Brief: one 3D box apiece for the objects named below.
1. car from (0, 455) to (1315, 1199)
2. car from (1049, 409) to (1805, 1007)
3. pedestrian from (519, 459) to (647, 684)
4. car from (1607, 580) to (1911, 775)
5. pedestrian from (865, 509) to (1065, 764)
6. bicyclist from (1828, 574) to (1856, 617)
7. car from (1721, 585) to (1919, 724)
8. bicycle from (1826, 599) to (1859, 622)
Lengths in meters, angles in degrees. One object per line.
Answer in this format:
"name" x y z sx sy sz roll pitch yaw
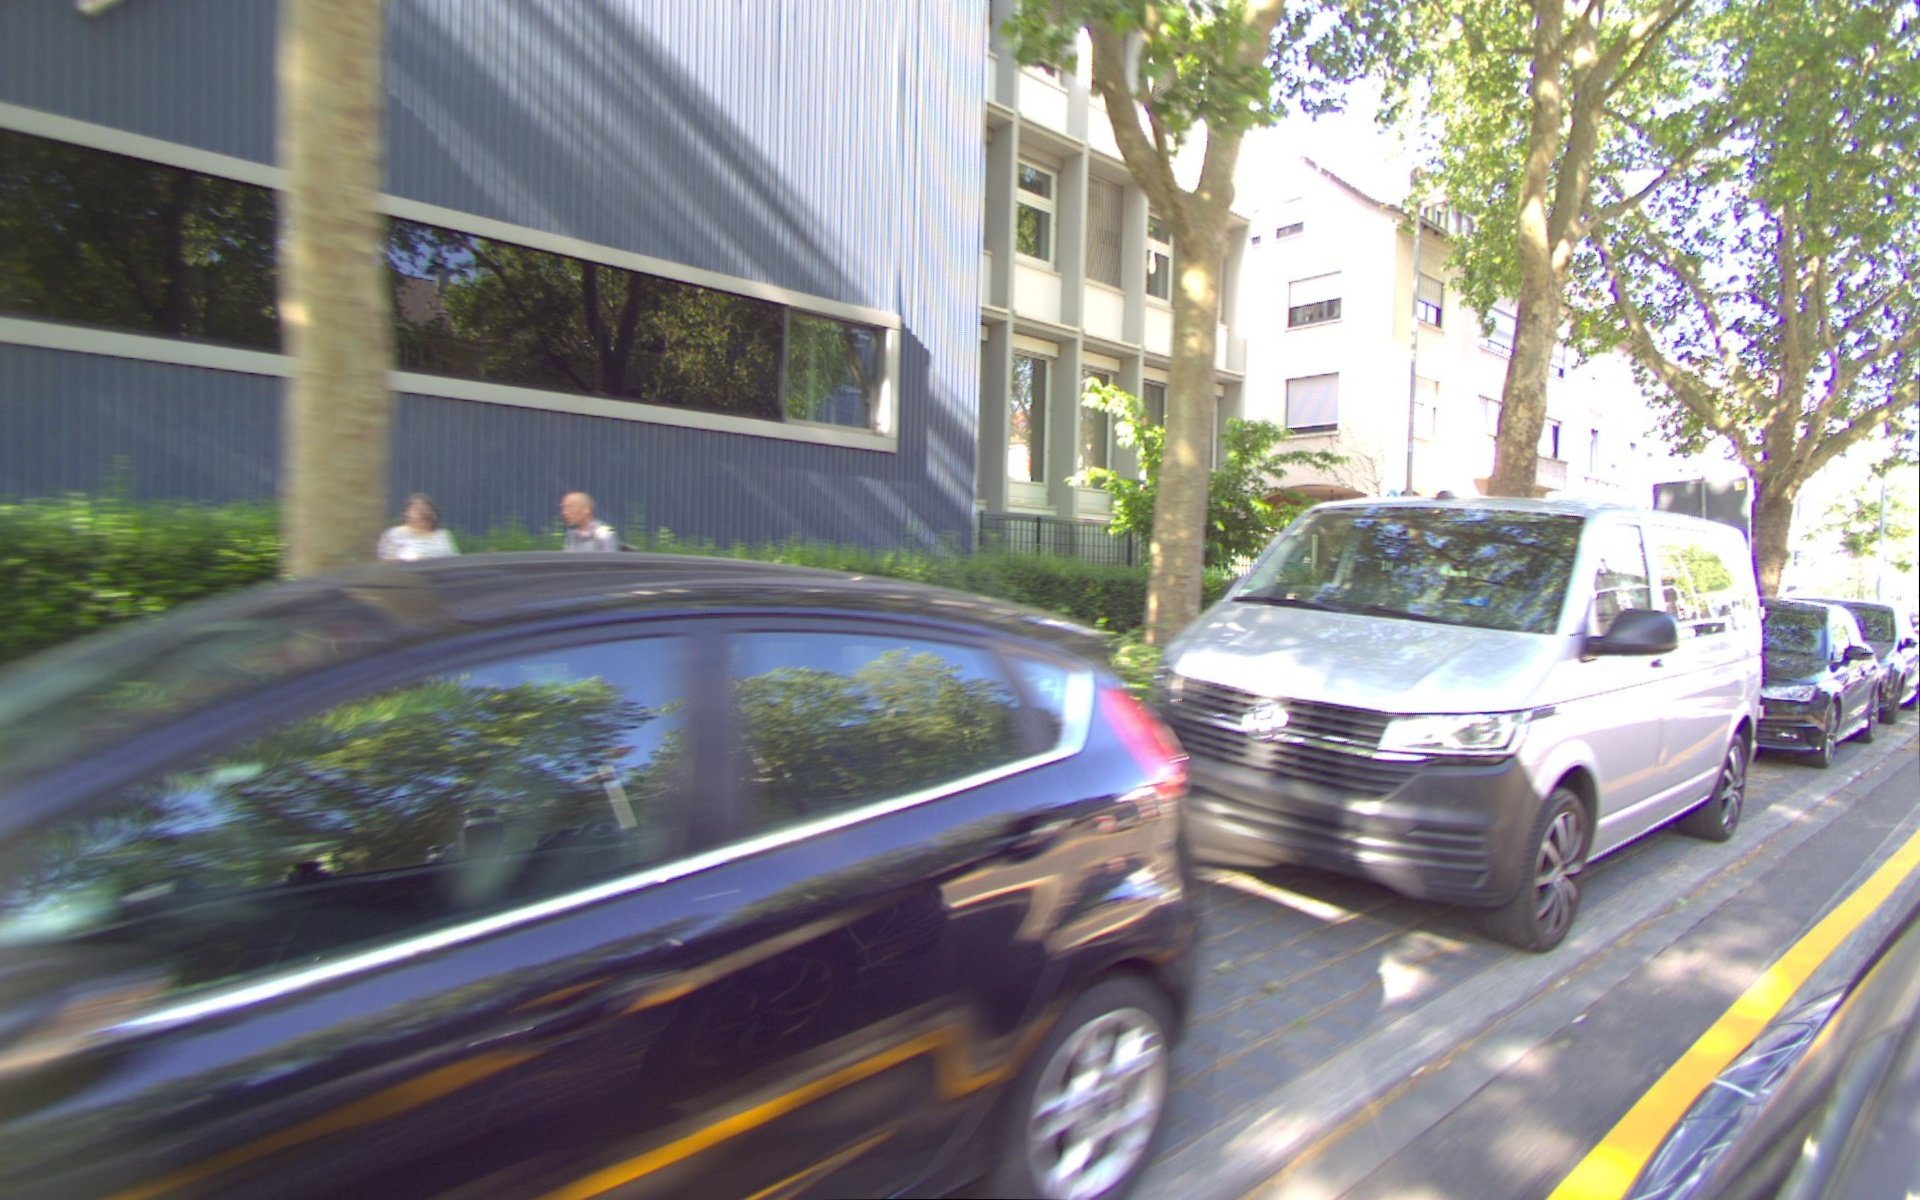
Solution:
"car" -1.190 0.555 2.071 4.028 1.495 1.752 0 2 -39
"car" 3.038 0.316 5.820 5.182 1.971 2.029 0 2 -42
"pedestrian" -2.974 -0.196 7.988 0.663 1.671 0.706 4 -4 -43
"car" 8.051 0.594 10.064 4.056 1.559 1.660 0 1 -41
"pedestrian" 0.052 0.219 7.146 1.246 1.622 0.728 0 1 -44
"bicyclist" 38.656 -0.193 44.362 1.051 1.843 0.725 0 1 -40
"car" 11.679 0.591 13.367 4.177 1.527 1.767 0 1 -41
"bicycle" 38.680 0.441 44.354 1.790 0.978 0.784 0 1 -39
